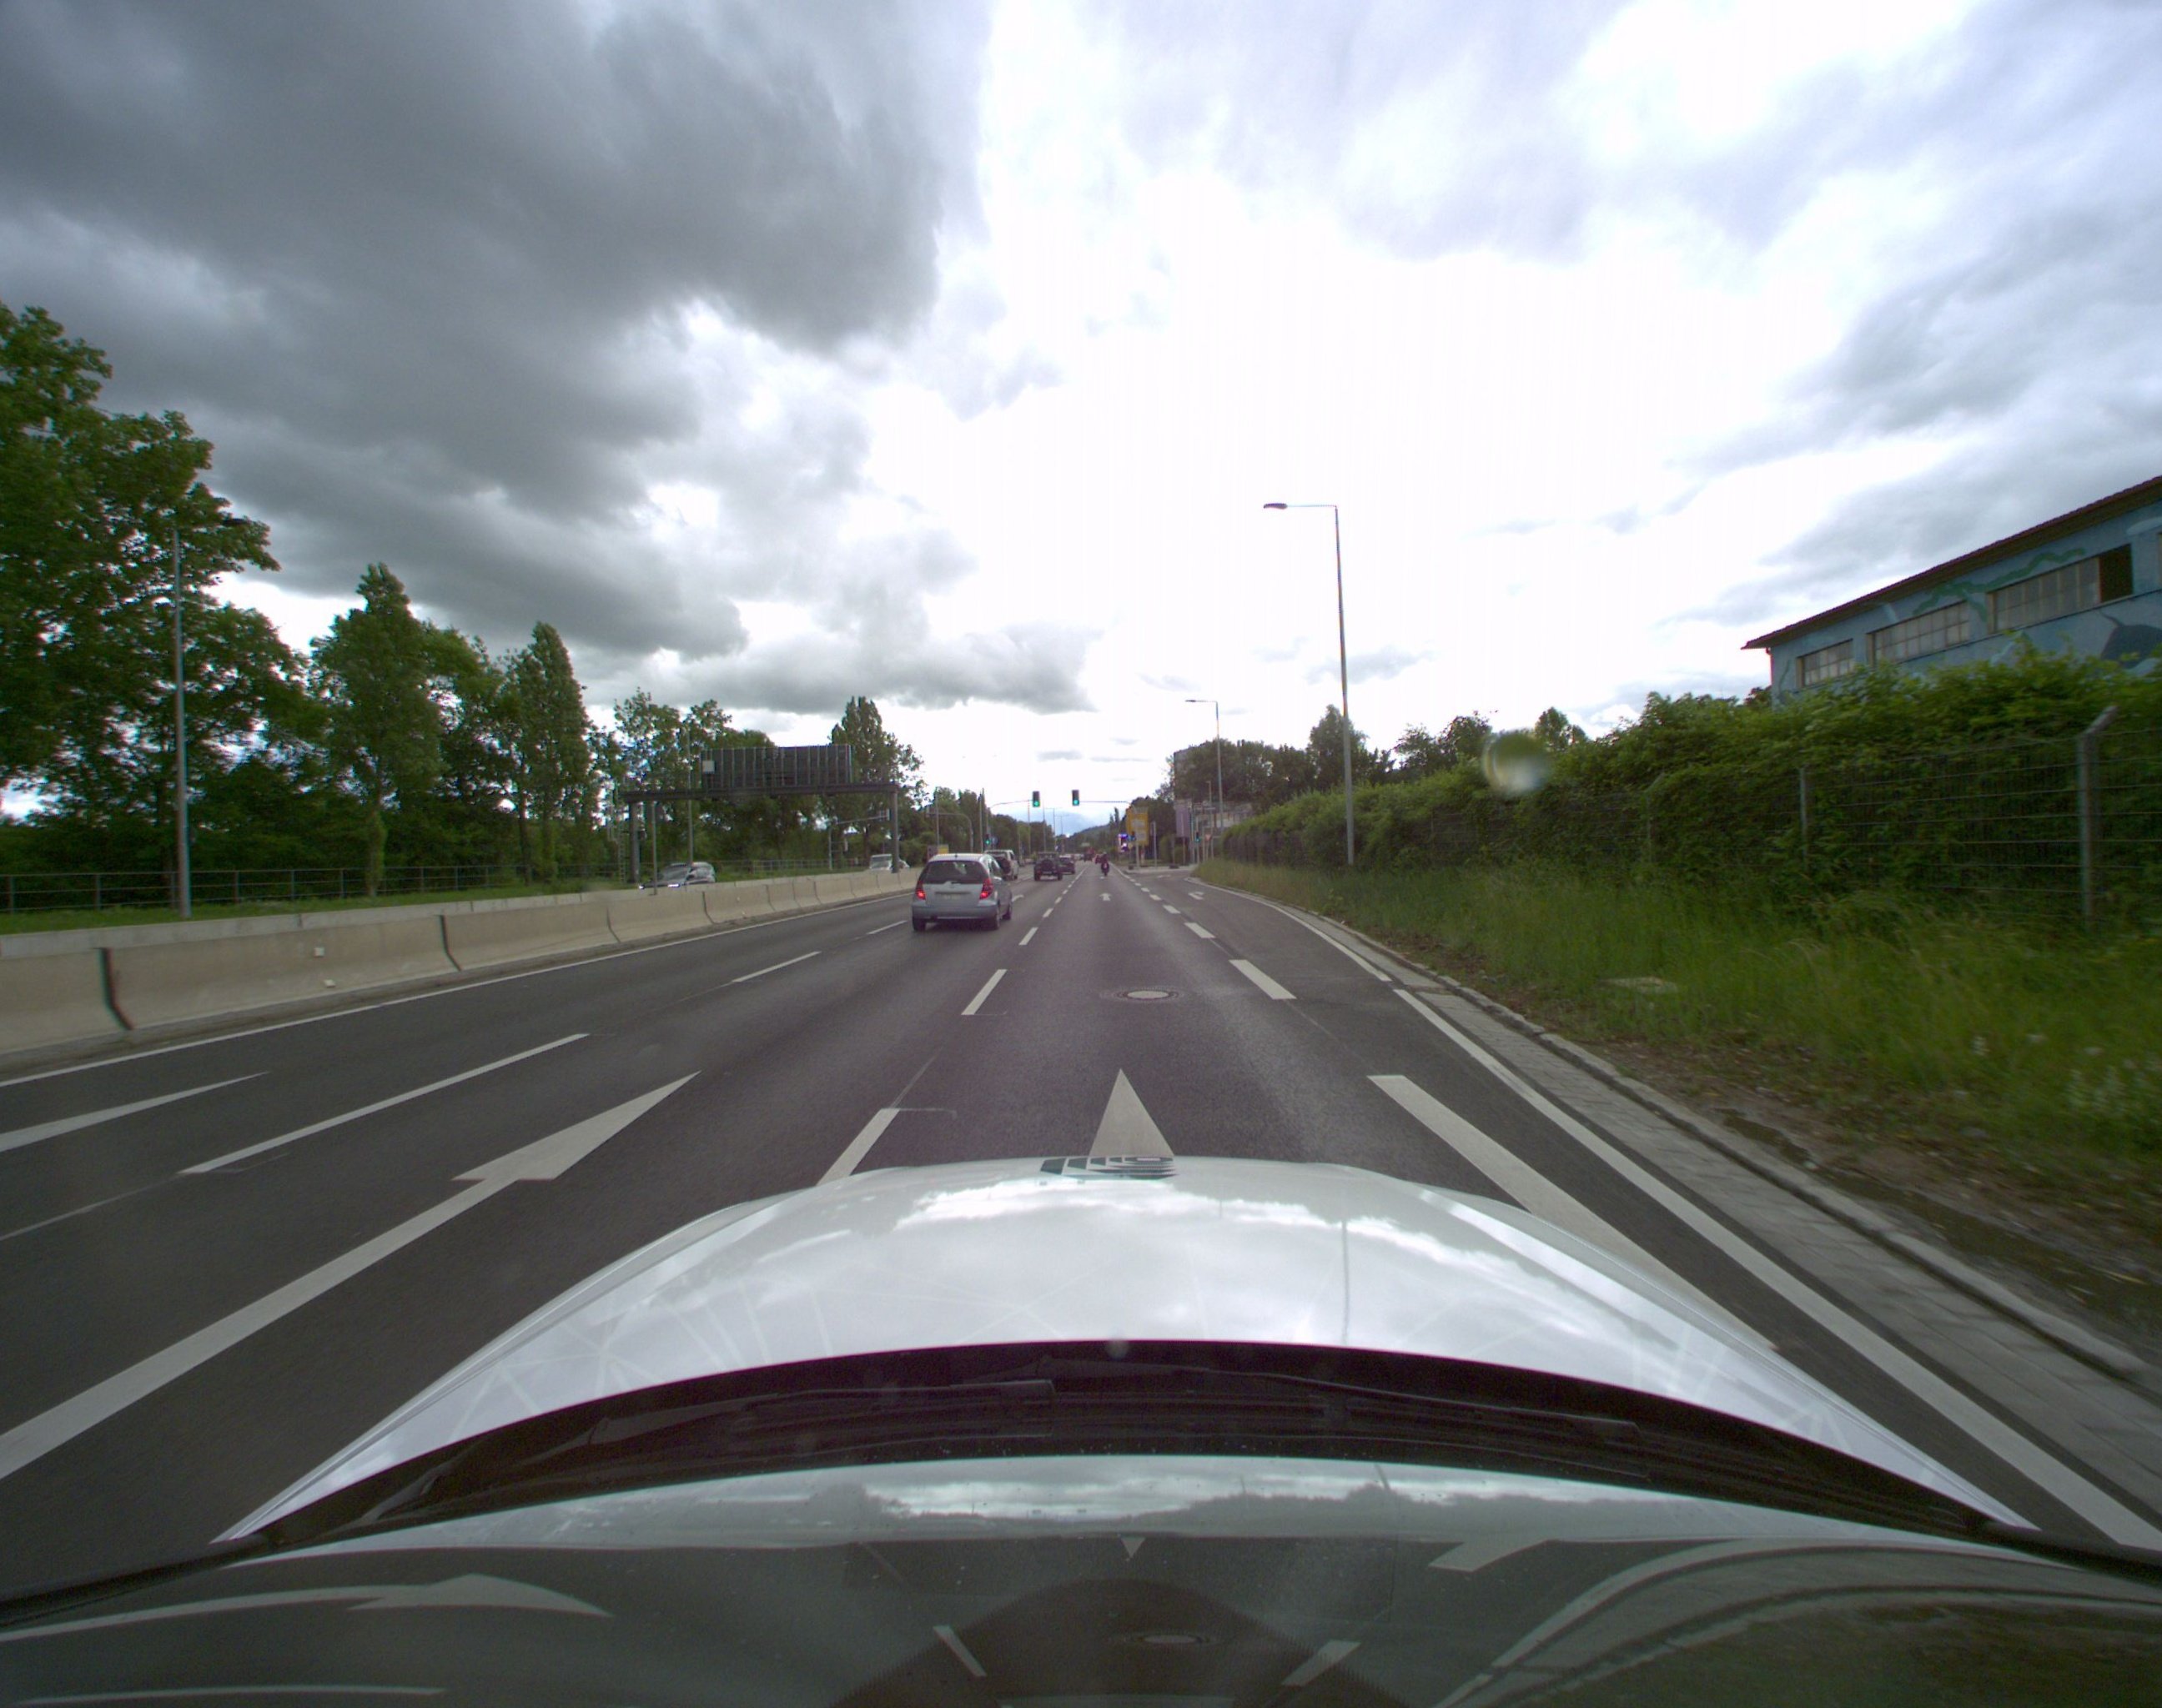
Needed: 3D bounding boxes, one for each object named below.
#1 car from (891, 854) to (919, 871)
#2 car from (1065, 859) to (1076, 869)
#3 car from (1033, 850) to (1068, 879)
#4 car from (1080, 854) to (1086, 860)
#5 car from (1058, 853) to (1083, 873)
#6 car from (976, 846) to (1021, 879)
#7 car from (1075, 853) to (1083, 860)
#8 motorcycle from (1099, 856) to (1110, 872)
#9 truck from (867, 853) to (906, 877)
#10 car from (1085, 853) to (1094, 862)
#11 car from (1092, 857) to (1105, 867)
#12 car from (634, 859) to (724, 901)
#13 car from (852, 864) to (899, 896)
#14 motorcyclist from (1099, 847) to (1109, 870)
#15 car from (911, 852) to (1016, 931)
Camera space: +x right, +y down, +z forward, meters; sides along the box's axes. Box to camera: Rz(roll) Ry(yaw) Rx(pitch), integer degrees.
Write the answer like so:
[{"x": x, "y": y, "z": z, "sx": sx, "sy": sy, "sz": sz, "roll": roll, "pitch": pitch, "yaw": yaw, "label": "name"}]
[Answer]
[{"x": -18.469, "y": 0.883, "z": 85.675, "sx": 1.987, "sy": 1.684, "sz": 4.412, "roll": 0, "pitch": 0, "yaw": 1, "label": "car"}, {"x": -2.030, "y": 1.998, "z": 163.451, "sx": 1.986, "sy": 2.013, "sz": 4.001, "roll": 0, "pitch": 0, "yaw": 1, "label": "car"}, {"x": -1.865, "y": 0.621, "z": 50.203, "sx": 1.901, "sy": 1.684, "sz": 4.001, "roll": 0, "pitch": 0, "yaw": 1, "label": "car"}, {"x": 0.711, "y": 0.961, "z": 260.744, "sx": 1.986, "sy": 2.013, "sz": 4.002, "roll": 0, "pitch": 0, "yaw": 2, "label": "car"}, {"x": -0.773, "y": 0.668, "z": 64.159, "sx": 1.833, "sy": 1.464, "sz": 4.001, "roll": 0, "pitch": 0, "yaw": 1, "label": "car"}, {"x": -5.061, "y": 0.497, "z": 50.500, "sx": 2.207, "sy": 1.925, "sz": 5.003, "roll": 0, "pitch": 0, "yaw": 1, "label": "car"}, {"x": -0.553, "y": 0.797, "z": 232.605, "sx": 1.986, "sy": 2.013, "sz": 4.002, "roll": 0, "pitch": 0, "yaw": 2, "label": "car"}, {"x": 1.680, "y": 0.699, "z": 57.776, "sx": 0.703, "sy": 1.040, "sz": 2.028, "roll": 0, "pitch": 0, "yaw": 3, "label": "motorcycle"}, {"x": -17.114, "y": 0.926, "z": 72.109, "sx": 2.199, "sy": 2.013, "sz": 6.296, "roll": 0, "pitch": 0, "yaw": -3, "label": "truck"}, {"x": 1.939, "y": 0.865, "z": 189.161, "sx": 1.986, "sy": 2.013, "sz": 4.001, "roll": 0, "pitch": 0, "yaw": 1, "label": "car"}, {"x": 2.712, "y": 1.229, "z": 127.862, "sx": 1.987, "sy": 1.552, "sz": 4.000, "roll": 0, "pitch": 0, "yaw": 0, "label": "car"}, {"x": -17.597, "y": 1.105, "z": 35.872, "sx": 1.871, "sy": 1.683, "sz": 4.126, "roll": 0, "pitch": 0, "yaw": 1, "label": "car"}, {"x": -14.158, "y": 1.738, "z": 56.441, "sx": 1.986, "sy": 2.013, "sz": 4.682, "roll": 0, "pitch": 0, "yaw": 1, "label": "car"}, {"x": 1.660, "y": 0.297, "z": 57.773, "sx": 0.682, "sy": 1.610, "sz": 0.846, "roll": 0, "pitch": 0, "yaw": 2, "label": "motorcyclist"}, {"x": -2.481, "y": 0.736, "z": 18.066, "sx": 1.705, "sy": 1.530, "sz": 4.000, "roll": 0, "pitch": 0, "yaw": 1, "label": "car"}]
